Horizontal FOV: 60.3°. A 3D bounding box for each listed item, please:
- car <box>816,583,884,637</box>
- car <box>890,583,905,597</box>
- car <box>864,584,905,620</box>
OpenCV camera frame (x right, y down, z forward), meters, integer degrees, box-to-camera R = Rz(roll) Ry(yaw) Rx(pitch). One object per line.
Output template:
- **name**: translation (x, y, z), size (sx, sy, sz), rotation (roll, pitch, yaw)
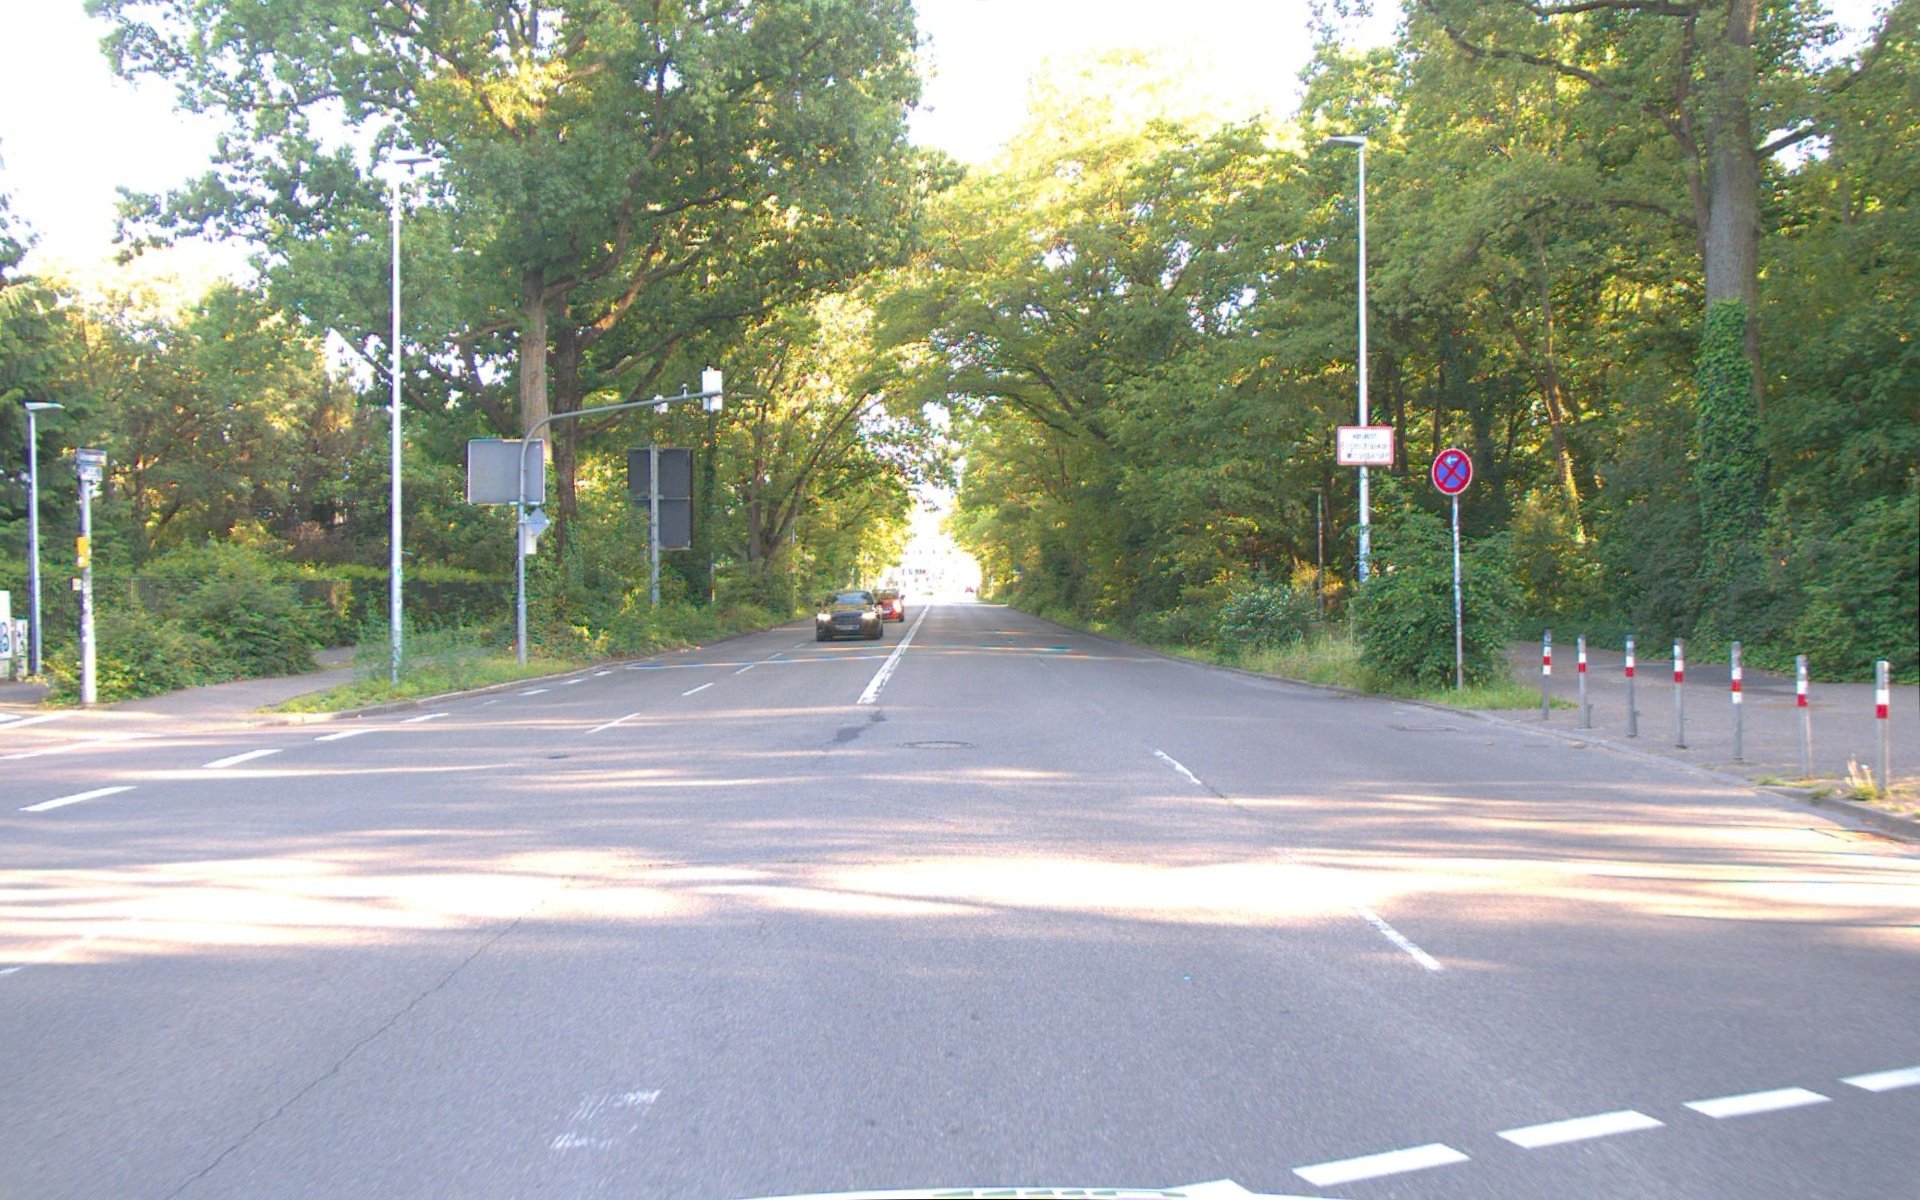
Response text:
- **car**: translation (-3.290, 0.285, 50.264), size (1.849, 1.533, 4.363), rotation (-1, 0, -2)
- **car**: translation (-7.251, -1.184, 192.018), size (1.761, 1.533, 4.363), rotation (-1, 0, -2)
- **car**: translation (-3.373, 0.100, 74.636), size (1.761, 1.533, 4.363), rotation (-1, 0, -2)
